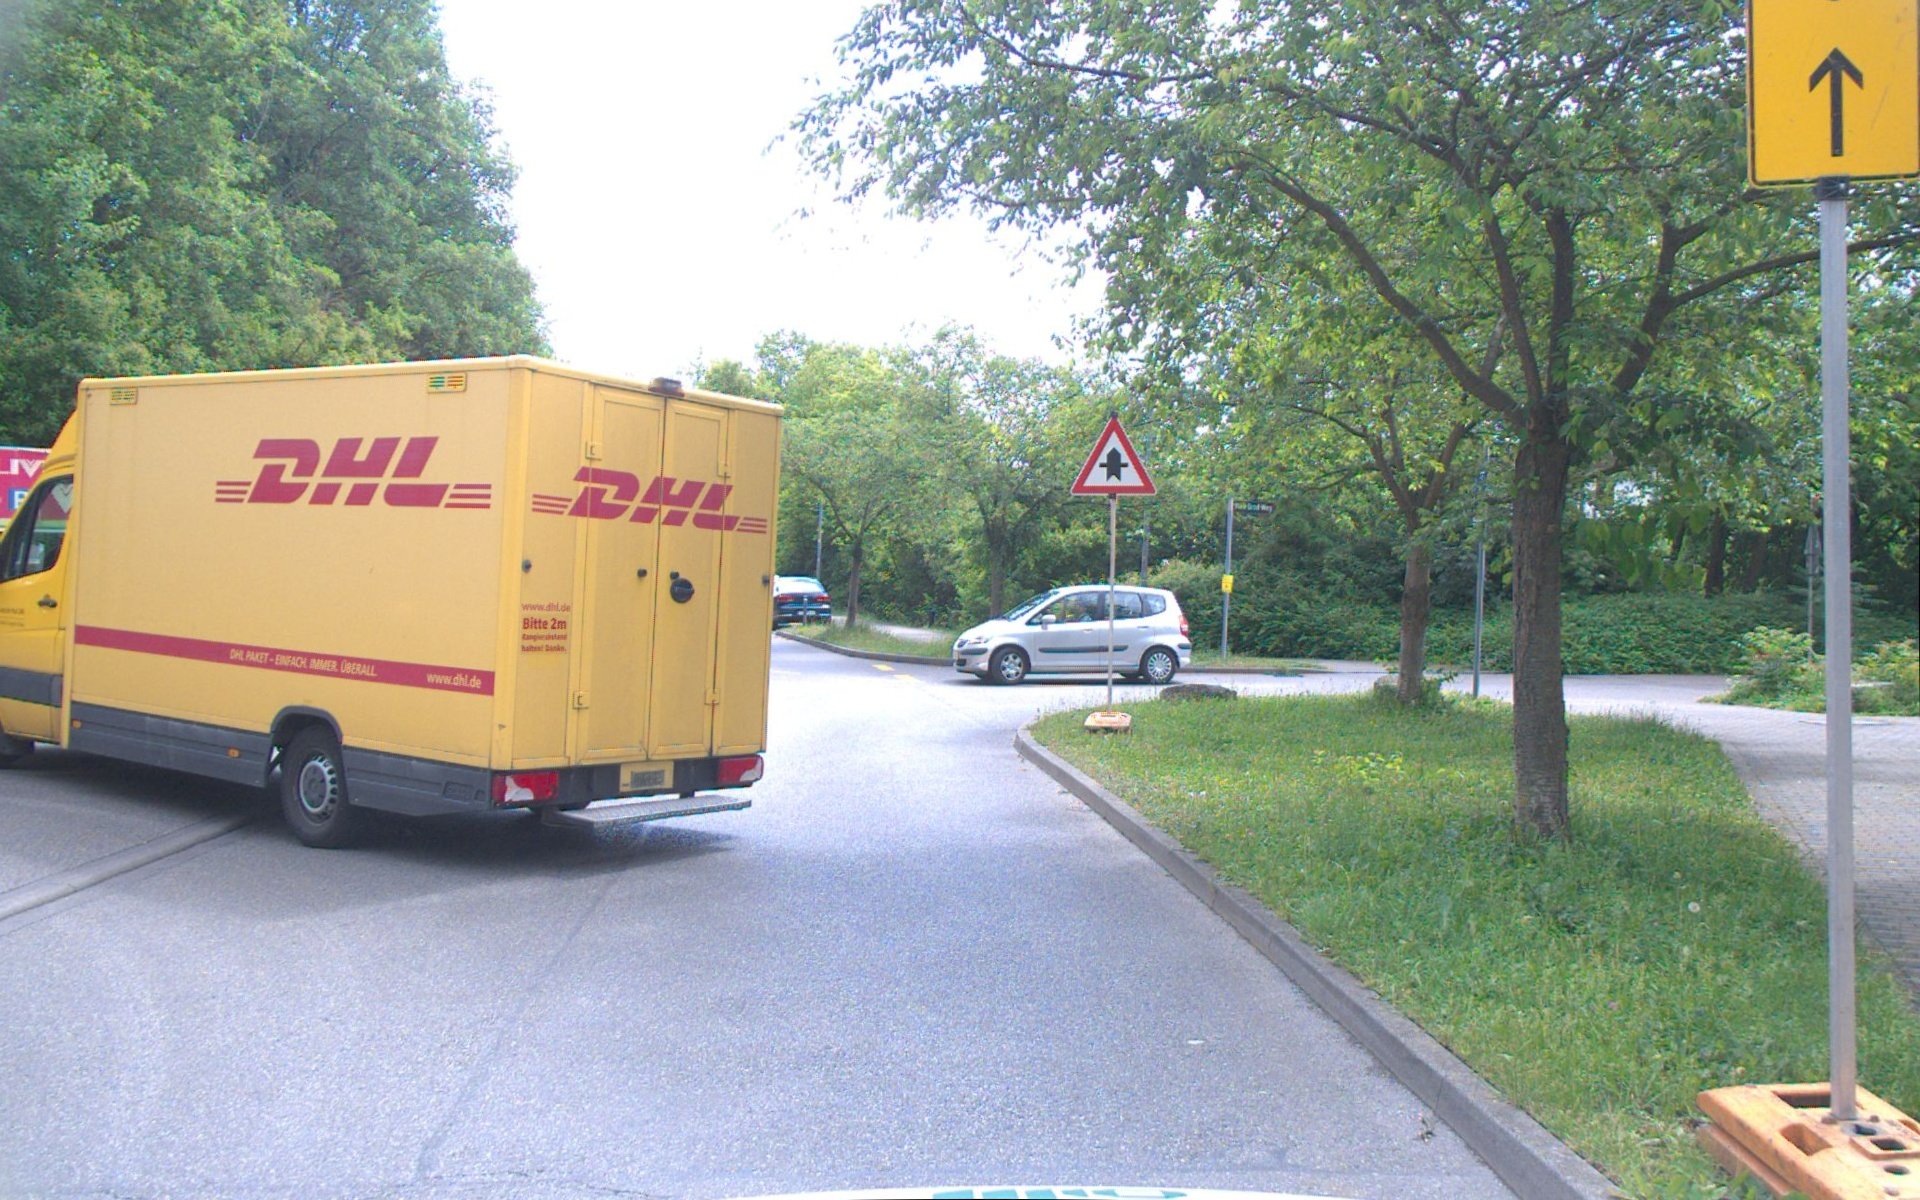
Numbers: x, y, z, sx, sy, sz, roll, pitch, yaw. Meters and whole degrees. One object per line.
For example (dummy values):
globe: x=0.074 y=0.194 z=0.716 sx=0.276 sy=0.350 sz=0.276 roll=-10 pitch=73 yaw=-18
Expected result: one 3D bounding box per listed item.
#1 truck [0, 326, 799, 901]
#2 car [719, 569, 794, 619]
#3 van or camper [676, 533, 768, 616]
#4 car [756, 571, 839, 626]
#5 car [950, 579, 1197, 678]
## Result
truck: x=-4.252 y=-0.120 z=11.041 sx=6.443 sy=2.857 sz=2.224 roll=4 pitch=3 yaw=37
car: x=-6.781 y=-0.210 z=54.806 sx=1.703 sy=1.545 sz=3.868 roll=-1 pitch=1 yaw=-19
van or camper: x=-9.004 y=-1.000 z=62.083 sx=2.297 sy=2.919 sz=6.117 roll=1 pitch=1 yaw=-19
car: x=-4.750 y=-0.085 z=47.824 sx=1.746 sy=1.459 sz=4.317 roll=-1 pitch=2 yaw=-15
car: x=1.754 y=0.444 z=26.225 sx=3.573 sy=1.481 sz=1.843 roll=1 pitch=0 yaw=-9
